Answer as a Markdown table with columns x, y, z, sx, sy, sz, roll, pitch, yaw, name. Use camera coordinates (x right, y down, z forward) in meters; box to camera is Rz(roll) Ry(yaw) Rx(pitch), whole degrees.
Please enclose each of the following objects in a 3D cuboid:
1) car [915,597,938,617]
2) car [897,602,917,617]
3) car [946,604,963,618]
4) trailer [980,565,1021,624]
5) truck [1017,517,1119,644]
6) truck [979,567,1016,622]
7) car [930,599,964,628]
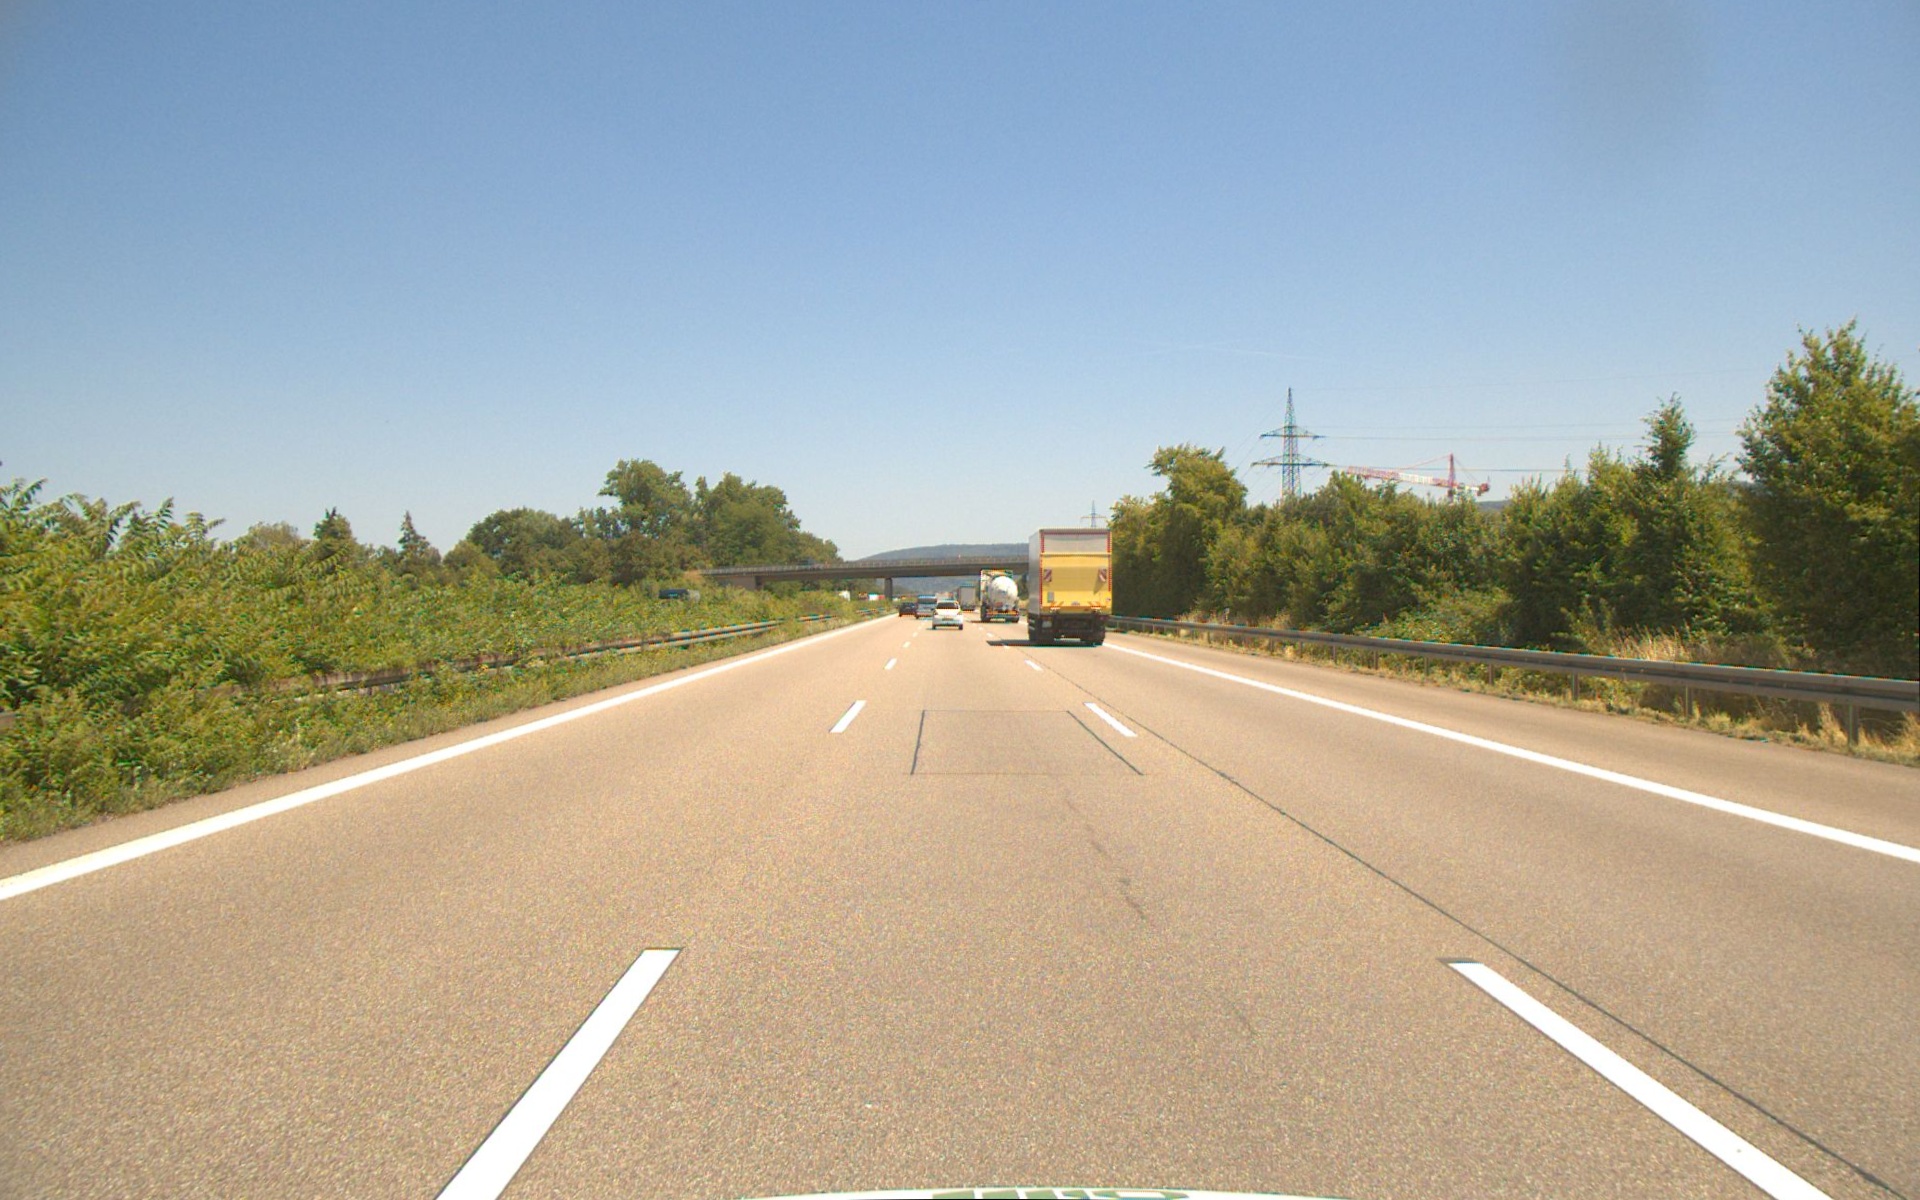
| x | y | z | sx | sy | sz | roll | pitch | yaw | name |
| --- | --- | --- | --- | --- | --- | --- | --- | --- | --- |
| -2.819 | 0.580 | 139.771 | 1.814 | 1.661 | 3.999 | 1 | 0 | -1 | car |
| -5.082 | 0.884 | 159.255 | 1.798 | 1.411 | 3.999 | 1 | 0 | -1 | car |
| -0.622 | 1.175 | 178.992 | 1.798 | 1.411 | 3.999 | 1 | 0 | -1 | car |
| 2.959 | -0.404 | 122.906 | 2.527 | 4.146 | 11.100 | 1 | 0 | -1 | trailer |
| 3.888 | -0.669 | 61.838 | 2.874 | 4.273 | 10.679 | 1 | 0 | -1 | truck |
| 2.868 | -0.403 | 127.546 | 2.521 | 4.143 | 6.391 | 1 | 0 | -1 | truck |
| -0.693 | 0.713 | 89.287 | 1.770 | 1.494 | 3.999 | 1 | 0 | -1 | car |
